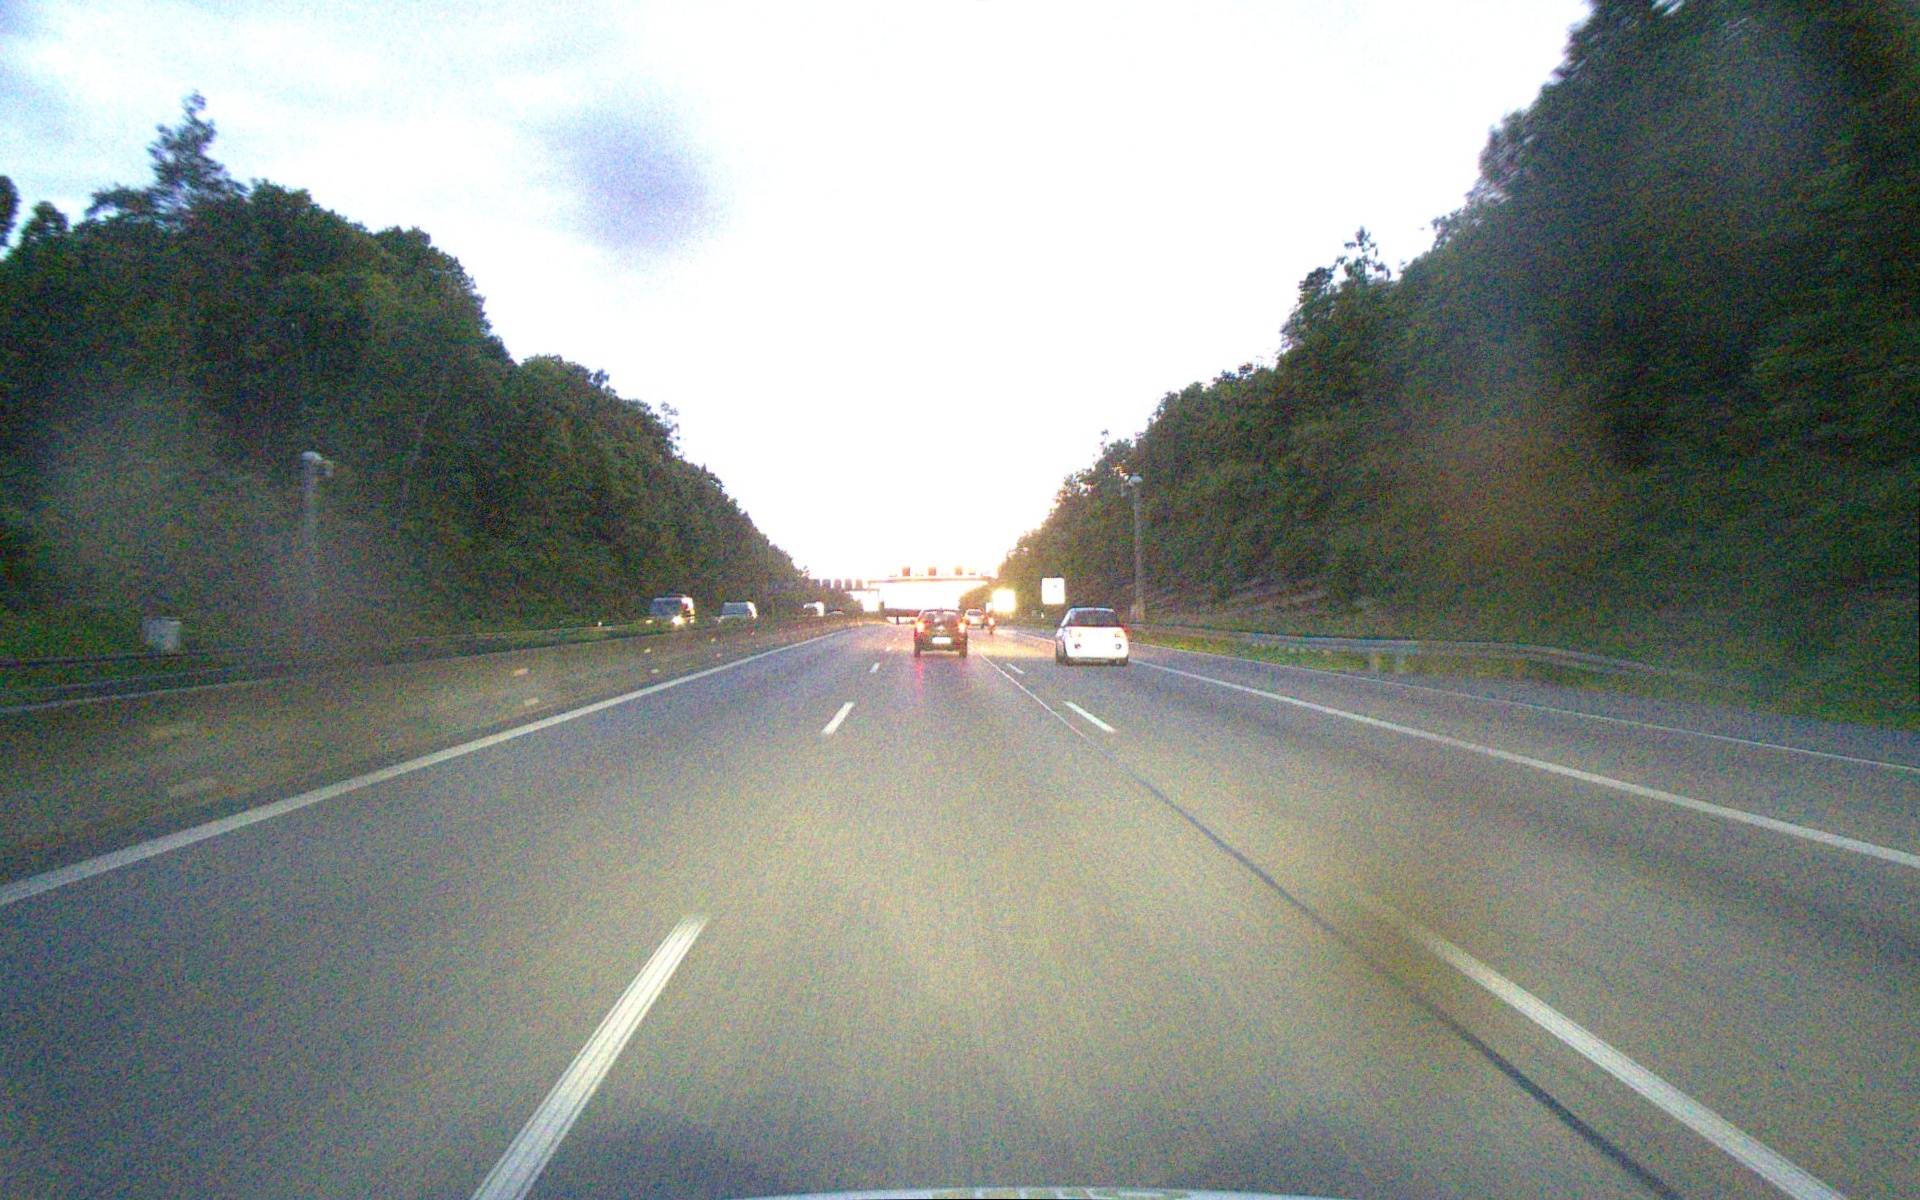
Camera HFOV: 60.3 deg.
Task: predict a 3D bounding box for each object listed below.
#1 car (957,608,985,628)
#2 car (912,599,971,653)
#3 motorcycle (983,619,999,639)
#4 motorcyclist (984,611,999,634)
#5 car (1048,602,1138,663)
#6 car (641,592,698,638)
[{"bbox_3d":[0.877,1.493,137.728,1.829,1.520,4.393,1,-2,-6],"label":"car"},{"bbox_3d":[-0.585,0.817,50.077,1.669,1.536,4.230,1,-2,-1],"label":"car"},{"bbox_3d":[1.848,1.711,98.040,0.813,1.154,2.475,0,-1,-2],"label":"motorcycle"},{"bbox_3d":[1.849,1.322,97.861,0.813,1.314,1.189,0,-1,-2],"label":"motorcyclist"},{"bbox_3d":[3.483,0.875,43.944,1.789,1.502,4.395,1,-2,-3],"label":"car"},{"bbox_3d":[-16.873,0.849,96.473,2.266,2.527,7.515,-1,0,-3],"label":"car"}]
